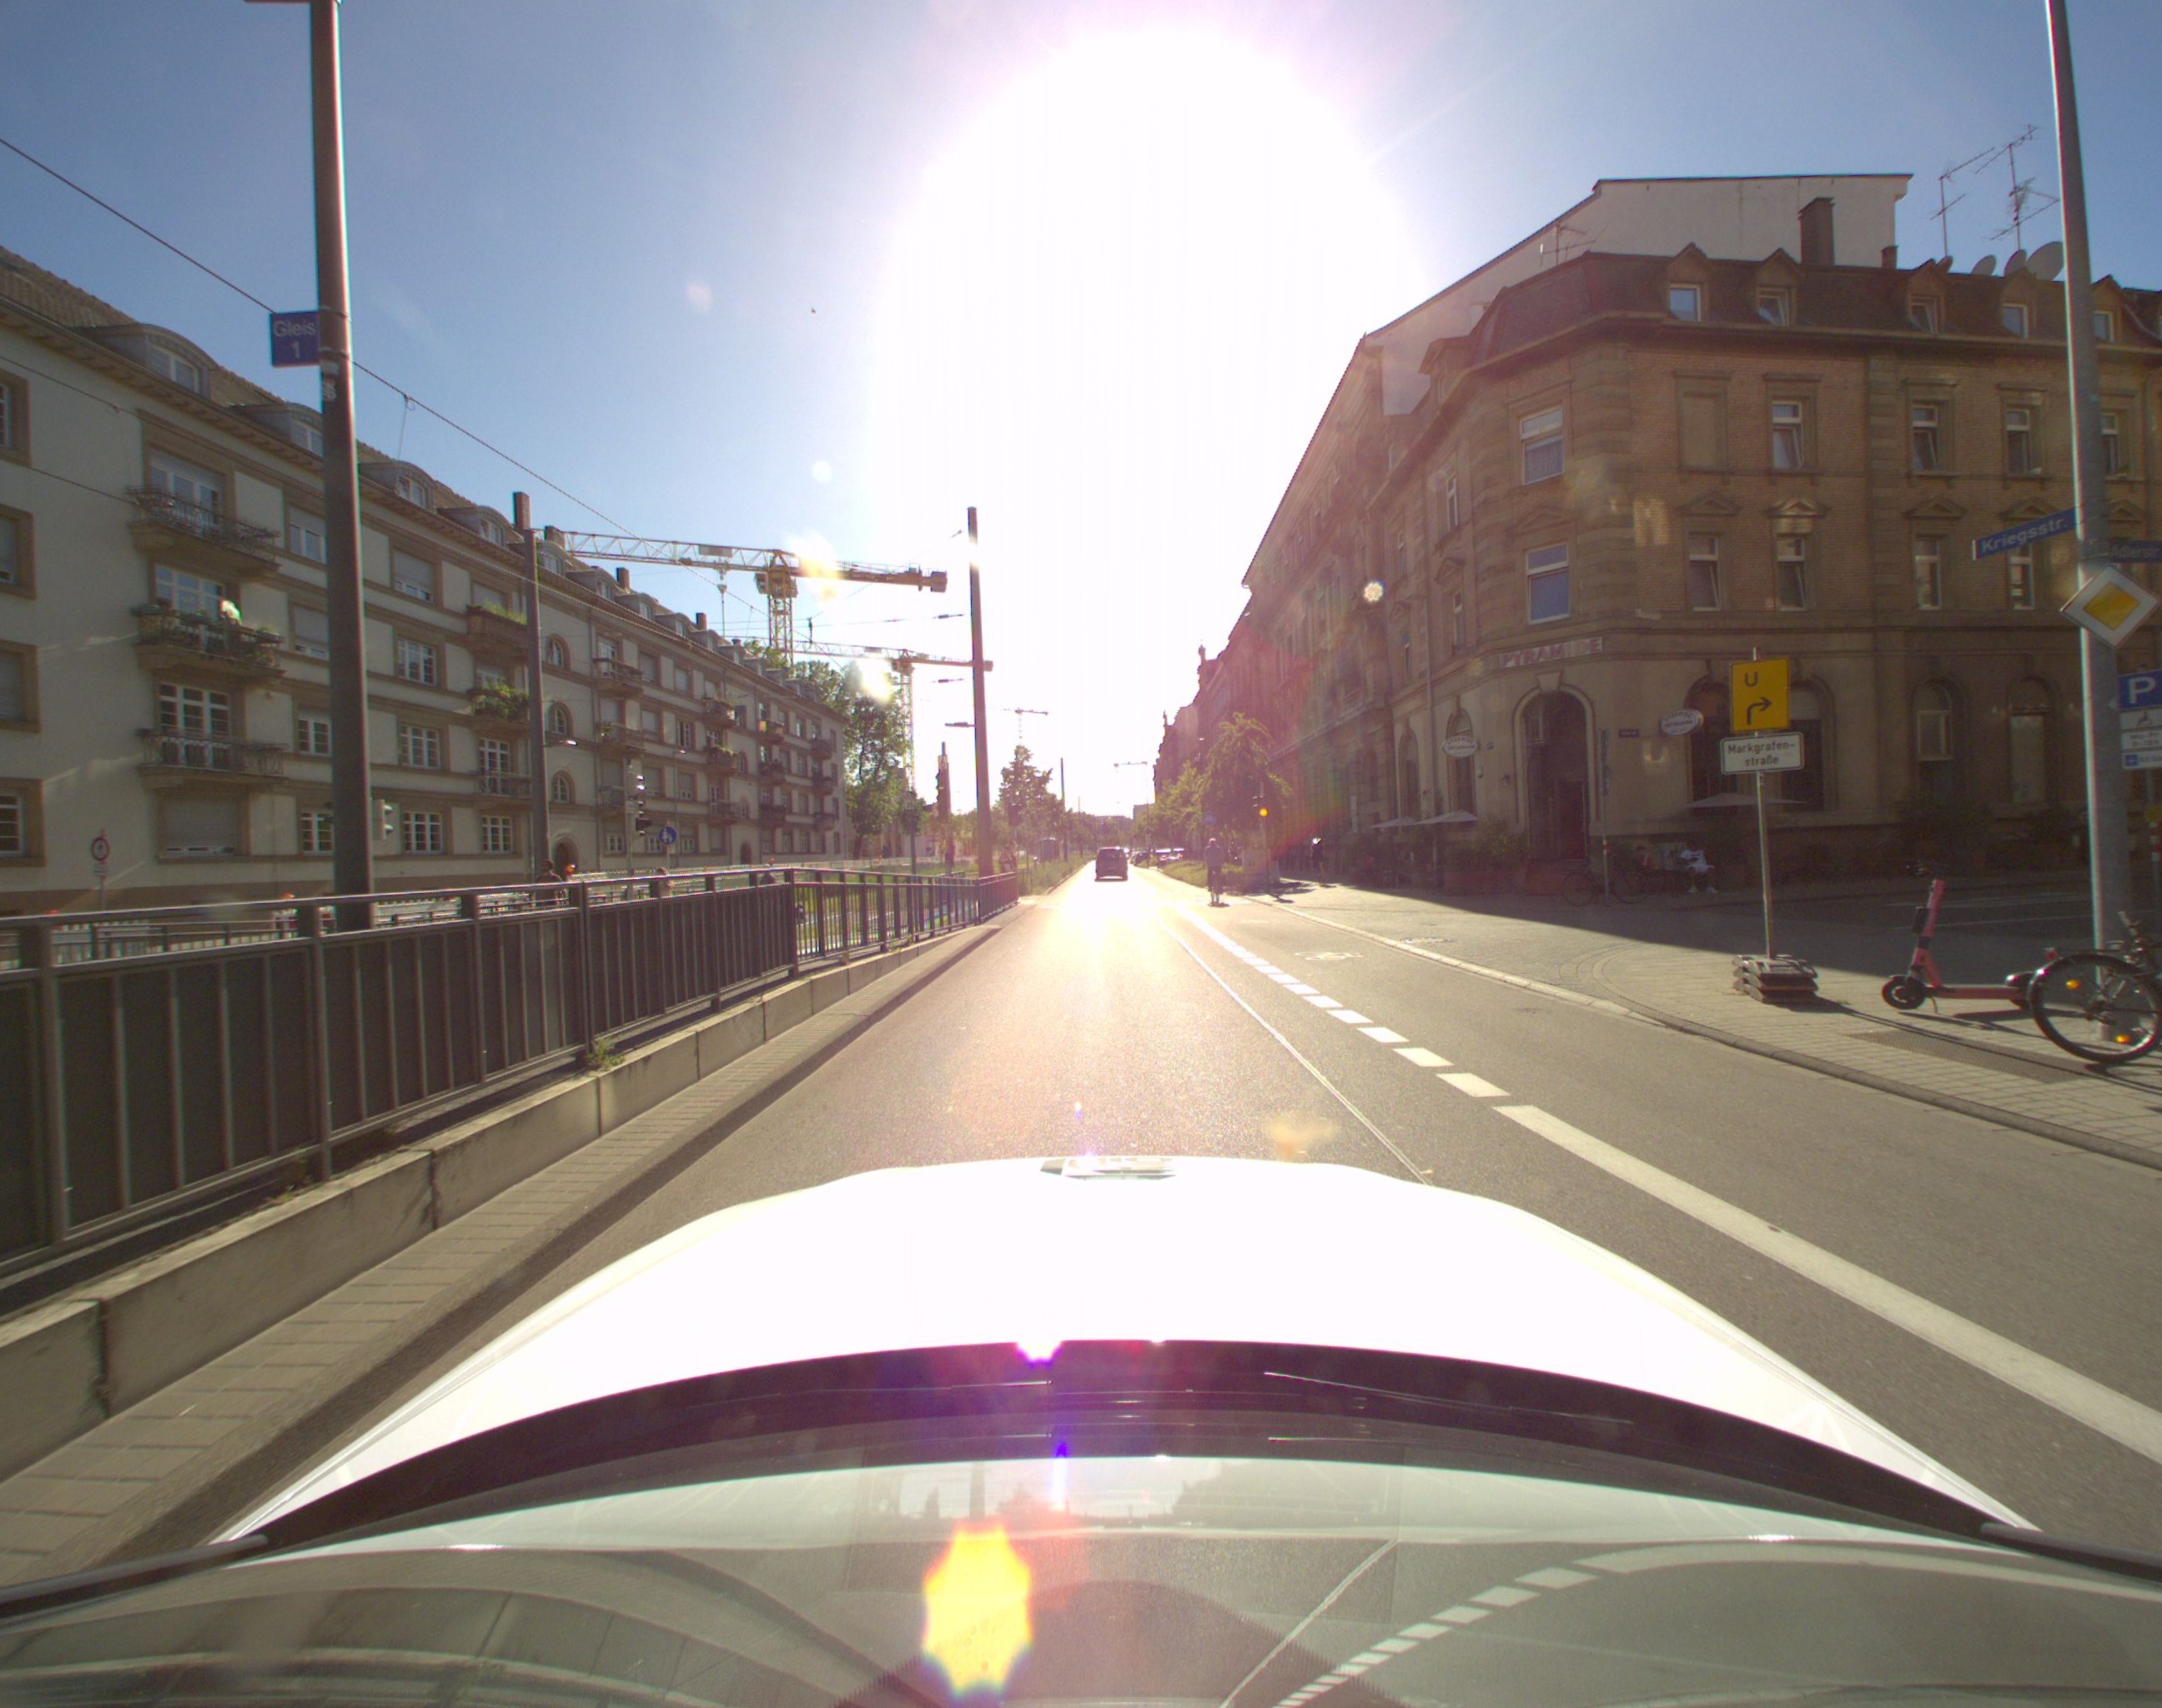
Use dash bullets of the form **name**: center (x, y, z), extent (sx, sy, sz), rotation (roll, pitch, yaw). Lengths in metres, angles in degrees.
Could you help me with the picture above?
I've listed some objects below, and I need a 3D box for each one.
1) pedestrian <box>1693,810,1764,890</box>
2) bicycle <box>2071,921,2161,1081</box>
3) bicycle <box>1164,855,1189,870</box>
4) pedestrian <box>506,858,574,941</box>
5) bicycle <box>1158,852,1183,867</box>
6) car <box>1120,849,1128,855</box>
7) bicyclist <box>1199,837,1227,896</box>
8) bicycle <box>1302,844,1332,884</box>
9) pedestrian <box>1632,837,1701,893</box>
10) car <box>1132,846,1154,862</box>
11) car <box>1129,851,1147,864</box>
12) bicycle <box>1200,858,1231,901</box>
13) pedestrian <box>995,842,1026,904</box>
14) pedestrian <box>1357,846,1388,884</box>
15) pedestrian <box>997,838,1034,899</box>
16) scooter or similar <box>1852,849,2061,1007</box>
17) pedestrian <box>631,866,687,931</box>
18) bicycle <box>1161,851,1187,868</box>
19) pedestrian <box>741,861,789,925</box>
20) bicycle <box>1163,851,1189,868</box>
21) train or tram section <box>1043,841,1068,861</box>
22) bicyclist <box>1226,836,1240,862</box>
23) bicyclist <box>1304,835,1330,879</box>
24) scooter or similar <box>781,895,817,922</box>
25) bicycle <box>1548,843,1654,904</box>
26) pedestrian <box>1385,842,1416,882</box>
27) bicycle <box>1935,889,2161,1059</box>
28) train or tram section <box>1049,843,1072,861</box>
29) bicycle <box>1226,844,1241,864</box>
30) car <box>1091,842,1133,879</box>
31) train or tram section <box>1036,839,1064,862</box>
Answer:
- **pedestrian**: center (14.758, -0.095, 18.578), extent (0.905, 1.760, 0.866), rotation (-1, 0, -6)
- **bicycle**: center (6.808, 0.796, 4.532), extent (1.661, 0.821, 0.608), rotation (-4, 0, 7)
- **bicycle**: center (7.261, 0.663, 62.083), extent (1.786, 1.030, 0.527), rotation (-2, 0, 1)
- **pedestrian**: center (-11.971, 0.987, 18.040), extent (0.898, 1.780, 0.872), rotation (-1, 0, 22)
- **bicycle**: center (7.011, 0.423, 63.611), extent (1.786, 1.030, 0.527), rotation (-7, 0, 1)
- **car**: center (11.791, -0.446, 223.425), extent (2.021, 1.499, 4.332), rotation (-3, 0, 1)
- **bicyclist**: center (3.793, 0.349, 23.457), extent (0.682, 1.673, 0.922), rotation (0, 0, 1)
- **bicycle**: center (8.540, 0.338, 29.511), extent (0.612, 1.330, 1.904), rotation (-6, 0, 8)
- **pedestrian**: center (13.179, 0.244, 18.351), extent (0.848, 1.214, 0.932), rotation (-1, 0, -6)
- **car**: center (6.635, 0.011, 86.980), extent (2.021, 1.499, 4.655), rotation (-3, 0, 1)
- **car**: center (6.935, 0.381, 99.335), extent (2.021, 1.499, 4.531), rotation (-3, 0, 1)
- **bicycle**: center (3.826, 0.705, 23.349), extent (0.599, 1.181, 1.869), rotation (0, 0, 1)
- **pedestrian**: center (-2.091, 0.552, 24.309), extent (0.863, 1.788, 0.969), rotation (-1, 0, -5)
- **pedestrian**: center (9.475, 0.346, 26.458), extent (0.703, 1.178, 0.635), rotation (-4, 0, 1)
- **pedestrian**: center (-2.108, 0.458, 26.185), extent (1.073, 1.908, 0.652), rotation (-3, 0, -5)
- **scooter or similar**: center (7.063, 0.590, 6.605), extent (1.105, 1.189, 0.420), rotation (-3, 0, 8)
- **pedestrian**: center (-10.515, 1.098, 20.318), extent (0.862, 1.536, 0.909), rotation (-1, 0, 1)
- **bicycle**: center (6.920, 0.403, 60.493), extent (1.786, 1.030, 0.527), rotation (-7, 0, 1)
- **pedestrian**: center (-7.930, 0.969, 20.459), extent (0.809, 1.536, 0.798), rotation (-1, 0, 3)
- **bicycle**: center (6.890, 0.393, 59.119), extent (1.786, 1.030, 0.527), rotation (-7, 0, 1)
- **train or tram section**: center (-3.575, -0.337, 116.955), extent (2.745, 2.743, 9.870), rotation (-1, 0, 3)
- **bicyclist**: center (9.790, -0.332, 52.409), extent (0.664, 1.639, 0.961), rotation (-2, 0, 1)
- **bicyclist**: center (8.523, 0.102, 29.444), extent (0.657, 1.530, 0.802), rotation (-6, 0, 7)
- **scooter or similar**: center (-7.167, 1.386, 20.736), extent (0.704, 0.651, 0.516), rotation (-1, 0, 3)
- **bicycle**: center (11.062, 0.401, 17.363), extent (1.809, 1.171, 0.655), rotation (-3, 3, 5)
- **pedestrian**: center (10.390, 0.263, 26.488), extent (0.703, 1.236, 0.635), rotation (-4, 0, 1)
- **bicycle**: center (6.685, 0.736, 5.200), extent (1.660, 0.944, 0.608), rotation (-3, 0, 8)
- **train or tram section**: center (-3.118, -0.271, 126.796), extent (2.745, 2.743, 9.870), rotation (-1, 0, 3)
- **bicycle**: center (9.814, -0.004, 52.417), extent (0.581, 1.222, 1.900), rotation (-2, 0, 1)
- **car**: center (1.746, 0.343, 46.364), extent (2.192, 1.926, 4.655), rotation (-3, 0, 1)
- **train or tram section**: center (-3.978, -0.404, 107.110), extent (2.745, 2.743, 9.870), rotation (-1, 0, 3)
